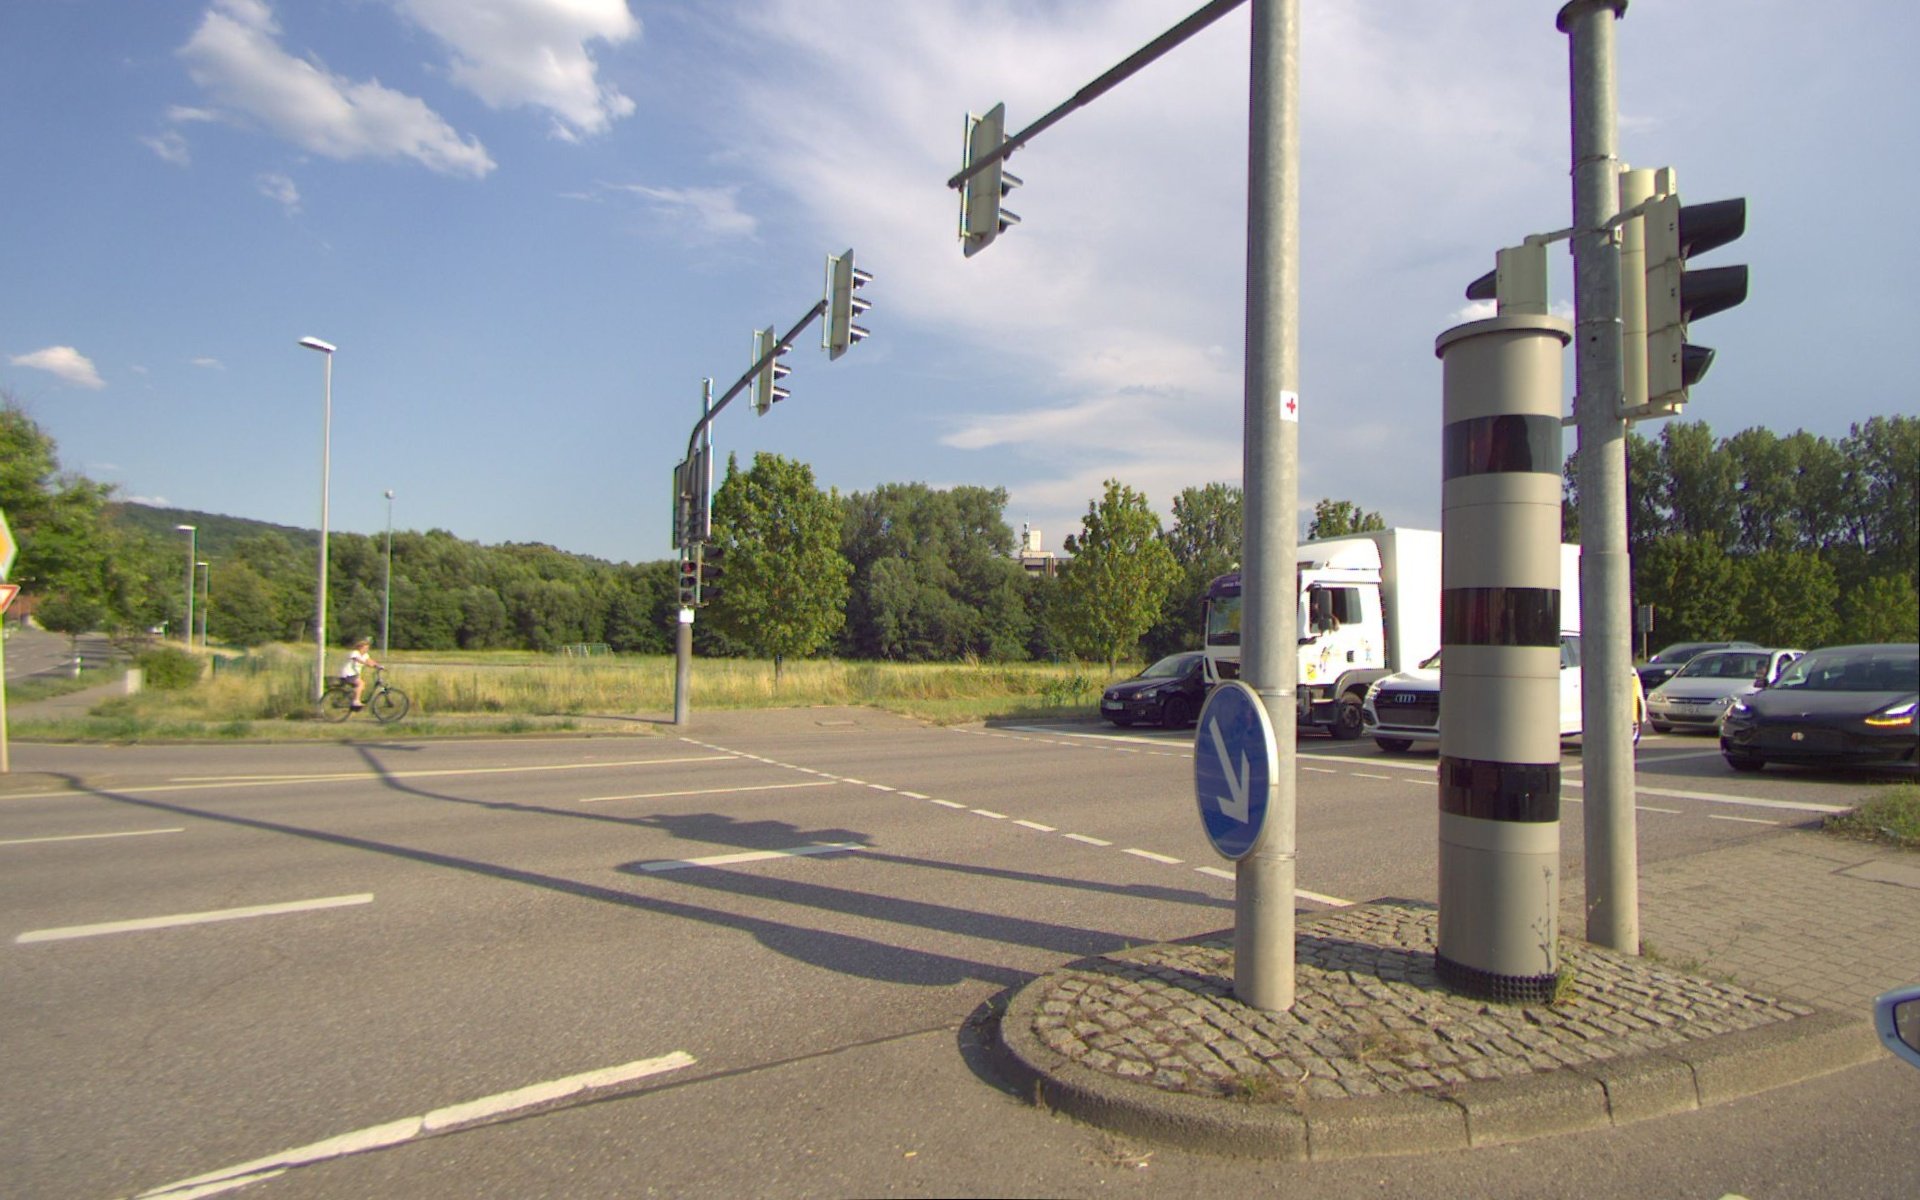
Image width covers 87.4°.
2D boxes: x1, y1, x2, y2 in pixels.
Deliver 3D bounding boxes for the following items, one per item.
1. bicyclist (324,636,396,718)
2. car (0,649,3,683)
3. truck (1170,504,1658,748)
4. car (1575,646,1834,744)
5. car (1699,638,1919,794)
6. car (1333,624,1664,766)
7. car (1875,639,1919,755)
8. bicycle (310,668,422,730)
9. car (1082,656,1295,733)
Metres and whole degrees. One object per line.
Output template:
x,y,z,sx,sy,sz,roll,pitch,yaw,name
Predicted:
-11.760,1.494,19.705,0.902,1.521,0.725,2,-1,14,bicyclist
-39.722,2.658,39.934,1.750,1.385,3.715,3,-3,-34,car
8.982,0.694,19.250,10.373,3.737,2.921,3,-5,-29,truck
12.498,1.534,16.768,5.023,1.423,1.694,3,-4,-31,car
10.709,1.237,11.656,4.875,1.485,1.781,3,-3,-32,car
7.648,1.283,14.168,4.752,1.700,1.984,3,-4,-31,car
15.265,1.331,14.490,4.517,1.558,1.772,0,-2,-31,car
-11.634,1.923,19.685,1.897,1.053,0.709,2,-1,14,bicycle
4.551,1.845,19.903,3.952,1.394,1.806,3,-4,-29,car
